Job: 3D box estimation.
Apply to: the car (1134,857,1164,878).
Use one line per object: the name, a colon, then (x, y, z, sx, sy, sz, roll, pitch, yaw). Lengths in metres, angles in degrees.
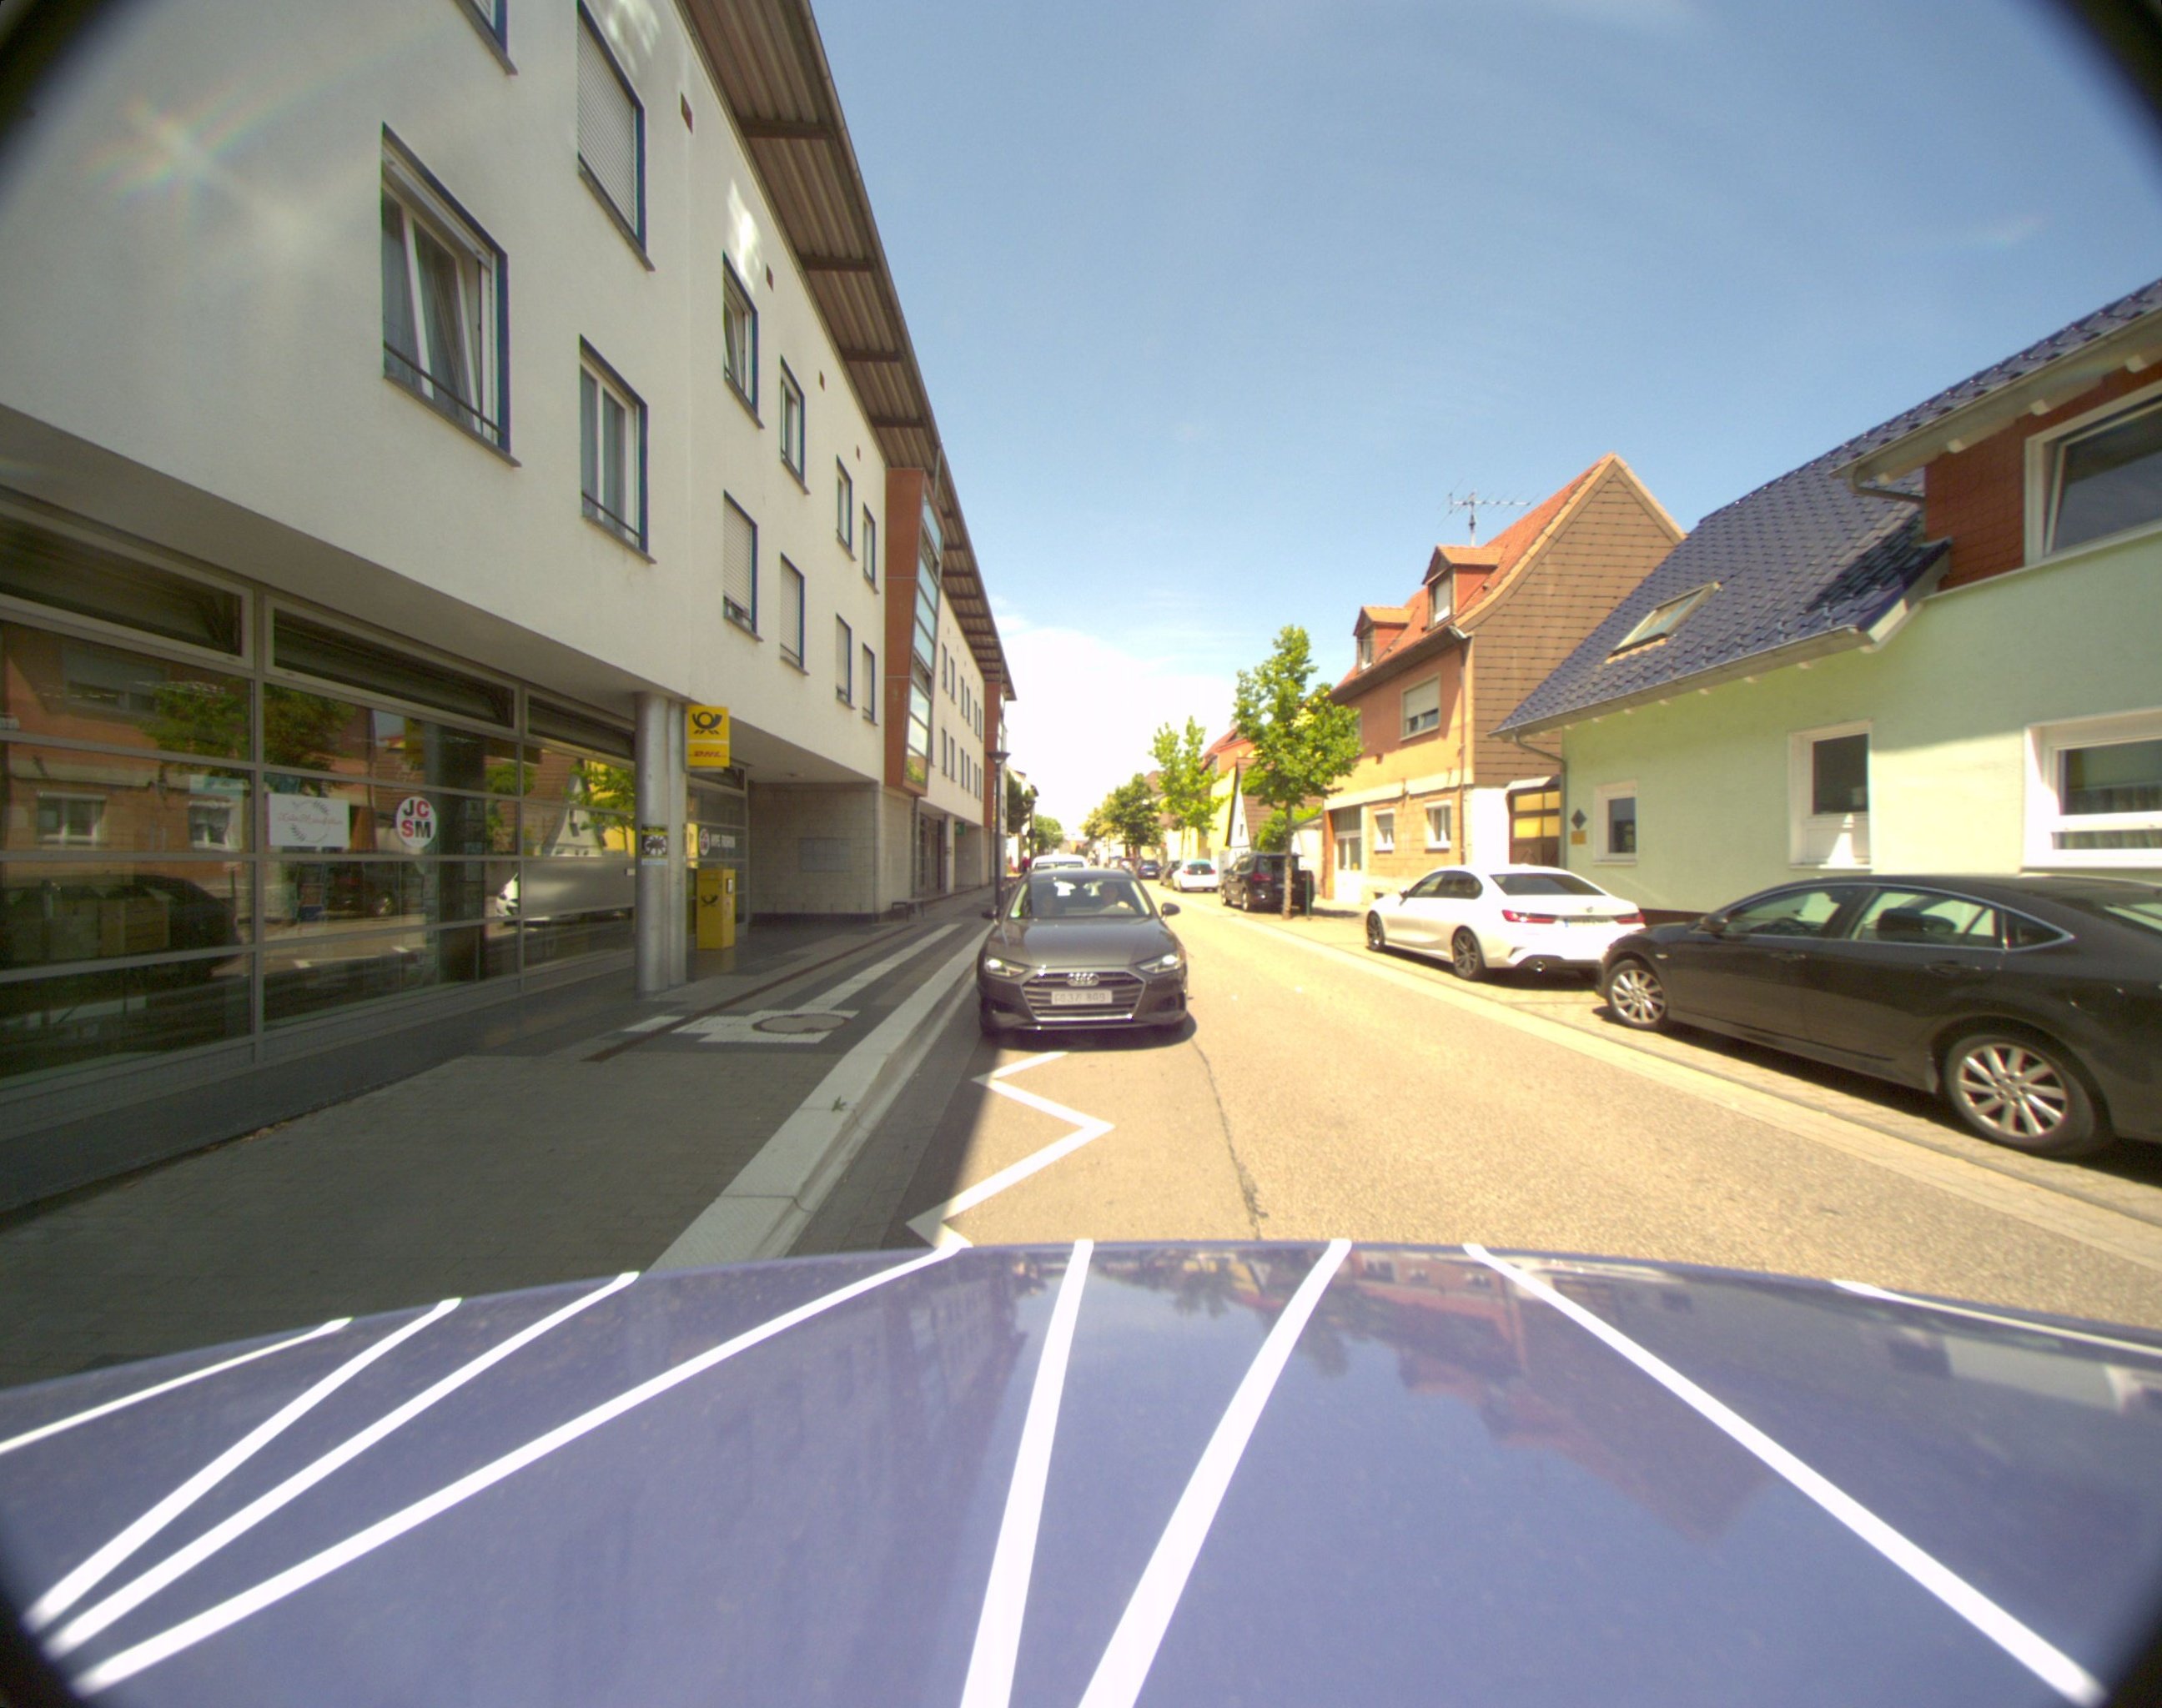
car: (4.739, 0.943, 53.480, 1.660, 1.399, 4.157, 0, 0, -1)

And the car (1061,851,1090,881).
car: (-0.357, 0.673, 44.253, 1.581, 1.620, 4.064, 0, 0, -1)

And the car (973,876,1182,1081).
car: (-0.067, 0.998, 7.790, 1.581, 1.424, 4.064, 0, 0, -1)

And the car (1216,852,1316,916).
car: (5.382, 0.811, 22.659, 1.780, 1.716, 4.519, 0, 0, -1)

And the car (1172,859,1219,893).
car: (5.118, 0.974, 34.342, 1.558, 1.422, 3.409, 1, 0, -1)

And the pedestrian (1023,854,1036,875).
pedestrian: (-3.834, 0.780, 56.880, 0.826, 1.579, 0.919, 3, 0, -1)

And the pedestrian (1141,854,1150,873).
pedestrian: (5.199, 0.761, 61.349, 0.631, 1.592, 0.528, 0, 1, -1)

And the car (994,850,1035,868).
car: (-7.101, 0.533, 81.631, 4.204, 1.849, 2.000, 1, 0, -2)

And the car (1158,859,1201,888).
car: (5.199, 0.999, 40.576, 1.649, 1.422, 4.098, 1, 0, -1)

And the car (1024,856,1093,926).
car: (-0.561, 0.862, 19.632, 1.581, 1.620, 4.064, 0, 0, -1)

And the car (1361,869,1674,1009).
car: (5.574, 0.966, 10.496, 1.724, 1.428, 4.459, 0, 0, 0)

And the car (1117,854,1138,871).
car: (4.409, 0.797, 72.834, 1.753, 1.566, 4.157, 0, 0, -1)

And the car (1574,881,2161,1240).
car: (5.604, 0.979, 5.113, 1.665, 1.428, 4.538, 0, 0, 1)

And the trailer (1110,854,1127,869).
trailer: (4.171, 0.808, 85.429, 1.493, 1.571, 3.882, -3, 0, -3)

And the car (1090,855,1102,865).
car: (2.374, 0.941, 121.025, 1.693, 1.464, 3.999, 0, 0, -1)
